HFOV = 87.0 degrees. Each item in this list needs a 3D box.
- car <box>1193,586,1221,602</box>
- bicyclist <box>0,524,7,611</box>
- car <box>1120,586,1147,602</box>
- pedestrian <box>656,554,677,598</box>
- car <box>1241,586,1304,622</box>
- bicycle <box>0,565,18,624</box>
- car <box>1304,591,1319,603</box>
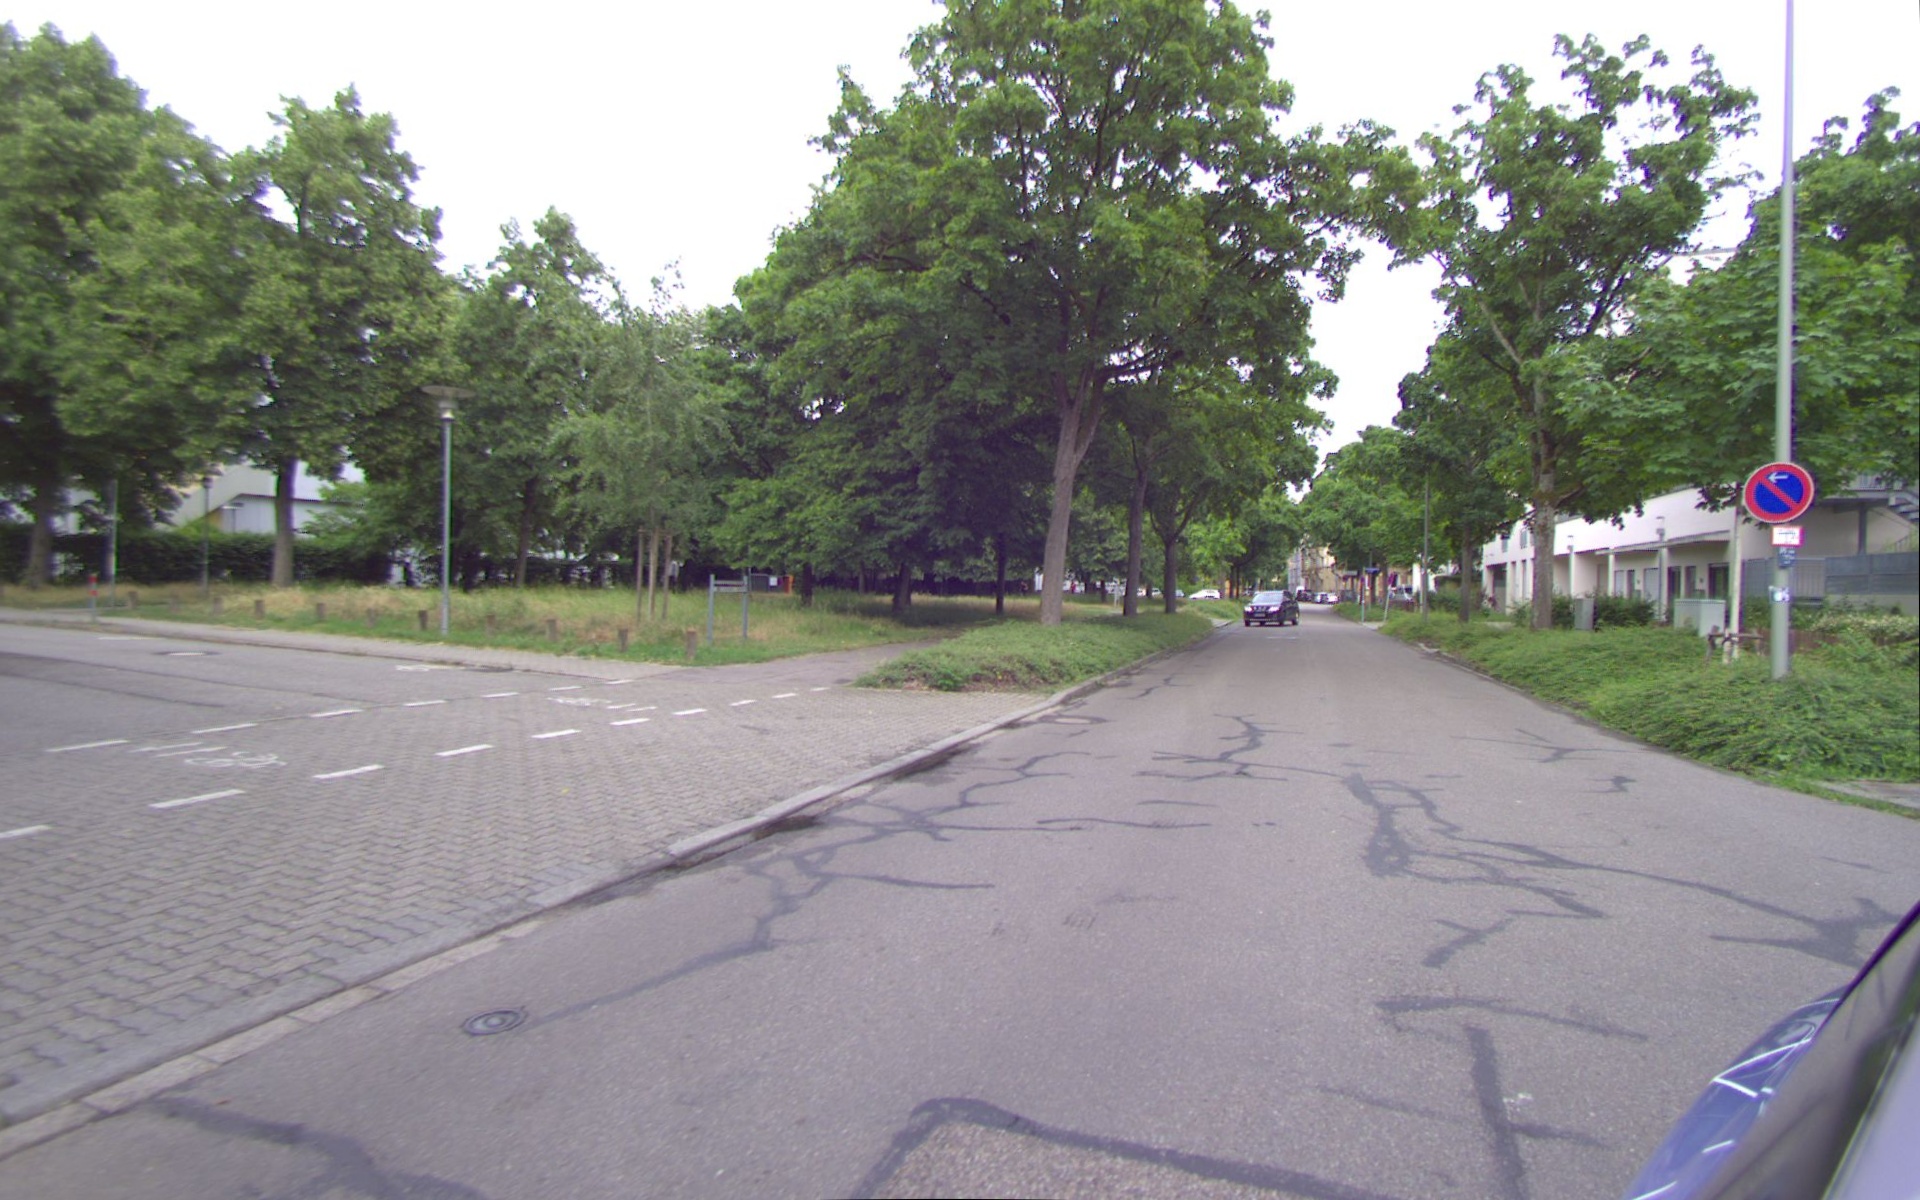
[{"bbox_3d":[30.416,-0.689,124.673,3.262,1.949,1.805,0,0,11],"label":"car"},{"bbox_3d":[-18.952,-0.641,19.188,0.913,1.665,1.013,2,1,23],"label":"bicyclist"},{"bbox_3d":[21.755,-0.729,126.855,3.262,1.949,1.805,0,0,11],"label":"car"},{"bbox_3d":[-12.220,-0.994,42.158,0.539,1.820,0.566,2,1,32],"label":"pedestrian"},{"bbox_3d":[14.687,0.163,47.432,1.982,1.504,4.495,2,1,28],"label":"car"},{"bbox_3d":[-18.926,-0.137,19.138,2.118,1.088,0.862,2,1,24],"label":"bicycle"},{"bbox_3d":[55.156,-0.438,159.047,1.758,1.786,3.648,2,1,13],"label":"car"}]
